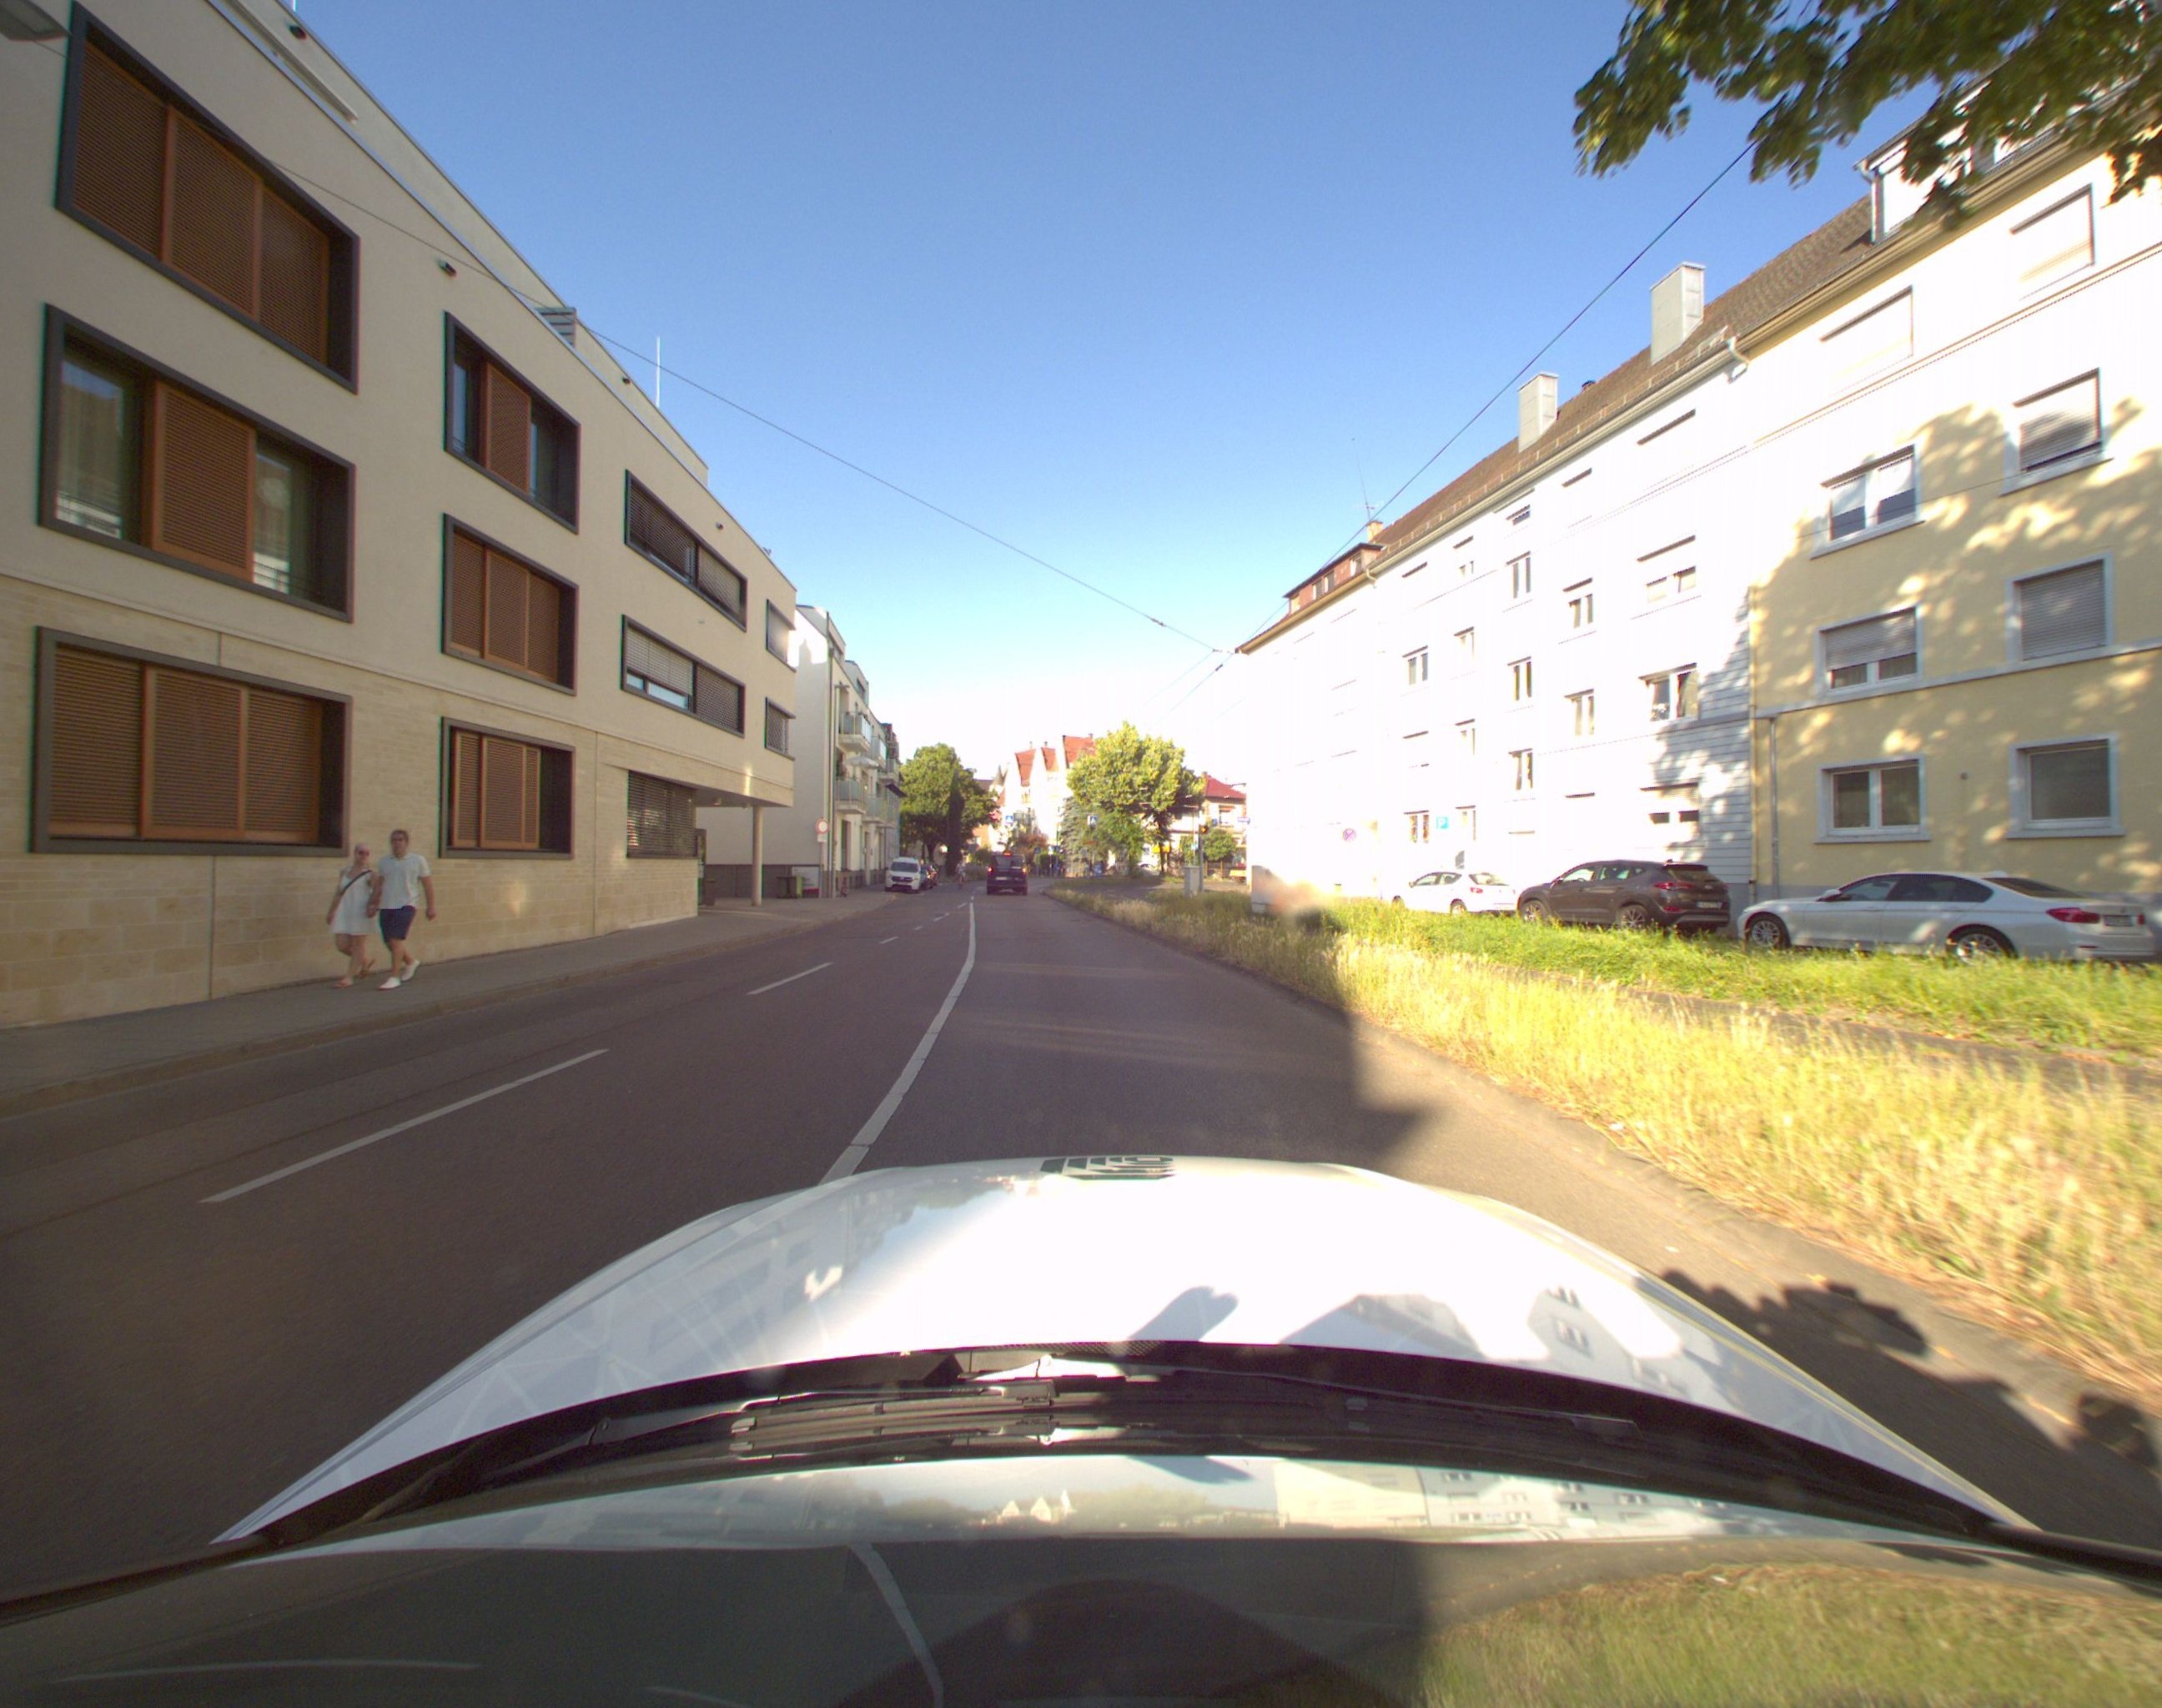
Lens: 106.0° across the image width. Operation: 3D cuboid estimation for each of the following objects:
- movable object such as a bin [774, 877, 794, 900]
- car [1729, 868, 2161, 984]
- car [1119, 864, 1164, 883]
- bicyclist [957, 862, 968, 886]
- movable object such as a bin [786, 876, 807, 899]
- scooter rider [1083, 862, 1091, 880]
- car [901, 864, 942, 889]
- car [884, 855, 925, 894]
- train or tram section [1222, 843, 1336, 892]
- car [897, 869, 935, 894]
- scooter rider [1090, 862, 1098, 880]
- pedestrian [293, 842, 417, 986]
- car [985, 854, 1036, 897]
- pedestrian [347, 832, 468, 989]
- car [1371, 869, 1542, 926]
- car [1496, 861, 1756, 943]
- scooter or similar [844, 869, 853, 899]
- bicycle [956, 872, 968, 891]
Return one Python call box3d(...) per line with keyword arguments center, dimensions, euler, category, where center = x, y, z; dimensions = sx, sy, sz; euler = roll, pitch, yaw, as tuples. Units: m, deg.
box3d(center=(-11.990, 1.386, 32.884), dimensions=(0.544, 0.901, 0.532), euler=(1, -2, 15), category="movable object such as a bin")
box3d(center=(13.004, 0.939, 12.563), dimensions=(1.997, 1.386, 4.424), euler=(0, 0, -14), category="car")
box3d(center=(5.196, 1.651, 69.780), dimensions=(1.940, 1.505, 3.707), euler=(-2, -1, 43), category="car")
box3d(center=(-6.990, 1.167, 47.920), dimensions=(0.622, 1.380, 0.799), euler=(0, -2, -7), category="bicyclist")
box3d(center=(-11.445, 1.358, 32.733), dimensions=(0.544, 0.901, 0.532), euler=(1, -2, 15), category="movable object such as a bin")
box3d(center=(0.590, 1.563, 75.253), dimensions=(0.607, 1.673, 0.651), euler=(0, -1, -15), category="scooter rider")
box3d(center=(-10.382, 1.450, 53.465), dimensions=(1.703, 1.466, 4.591), euler=(3, -1, 0), category="car")
box3d(center=(-9.122, 1.059, 42.321), dimensions=(1.811, 1.870, 4.317), euler=(3, -2, -10), category="car")
box3d(center=(15.503, 1.083, 63.353), dimensions=(9.960, 3.556, 2.754), euler=(1, -1, -35), category="train or tram section")
box3d(center=(-9.558, 1.590, 47.461), dimensions=(1.661, 1.274, 4.019), euler=(3, -2, -4), category="car")
box3d(center=(1.185, 1.573, 75.423), dimensions=(0.607, 1.673, 0.651), euler=(0, -1, -15), category="scooter rider")
box3d(center=(-9.049, 0.732, 10.188), dimensions=(0.700, 1.714, 0.842), euler=(1, -2, -1), category="pedestrian")
box3d(center=(-3.459, 1.031, 40.502), dimensions=(1.986, 2.014, 4.002), euler=(1, -1, 2), category="car")
box3d(center=(-8.385, 0.680, 10.188), dimensions=(0.603, 1.849, 0.992), euler=(1, -2, -1), category="pedestrian")
box3d(center=(10.506, 1.156, 23.184), dimensions=(1.999, 1.386, 4.420), euler=(0, 0, -17), category="car")
box3d(center=(11.738, 0.977, 18.023), dimensions=(1.997, 1.572, 4.618), euler=(0, -2, -14), category="car")
box3d(center=(-9.971, 1.265, 34.900), dimensions=(0.225, 1.220, 1.146), euler=(2, -1, -21), category="scooter or similar")
box3d(center=(-6.985, 1.591, 47.877), dimensions=(0.622, 1.081, 1.779), euler=(0, -2, -7), category="bicycle")
